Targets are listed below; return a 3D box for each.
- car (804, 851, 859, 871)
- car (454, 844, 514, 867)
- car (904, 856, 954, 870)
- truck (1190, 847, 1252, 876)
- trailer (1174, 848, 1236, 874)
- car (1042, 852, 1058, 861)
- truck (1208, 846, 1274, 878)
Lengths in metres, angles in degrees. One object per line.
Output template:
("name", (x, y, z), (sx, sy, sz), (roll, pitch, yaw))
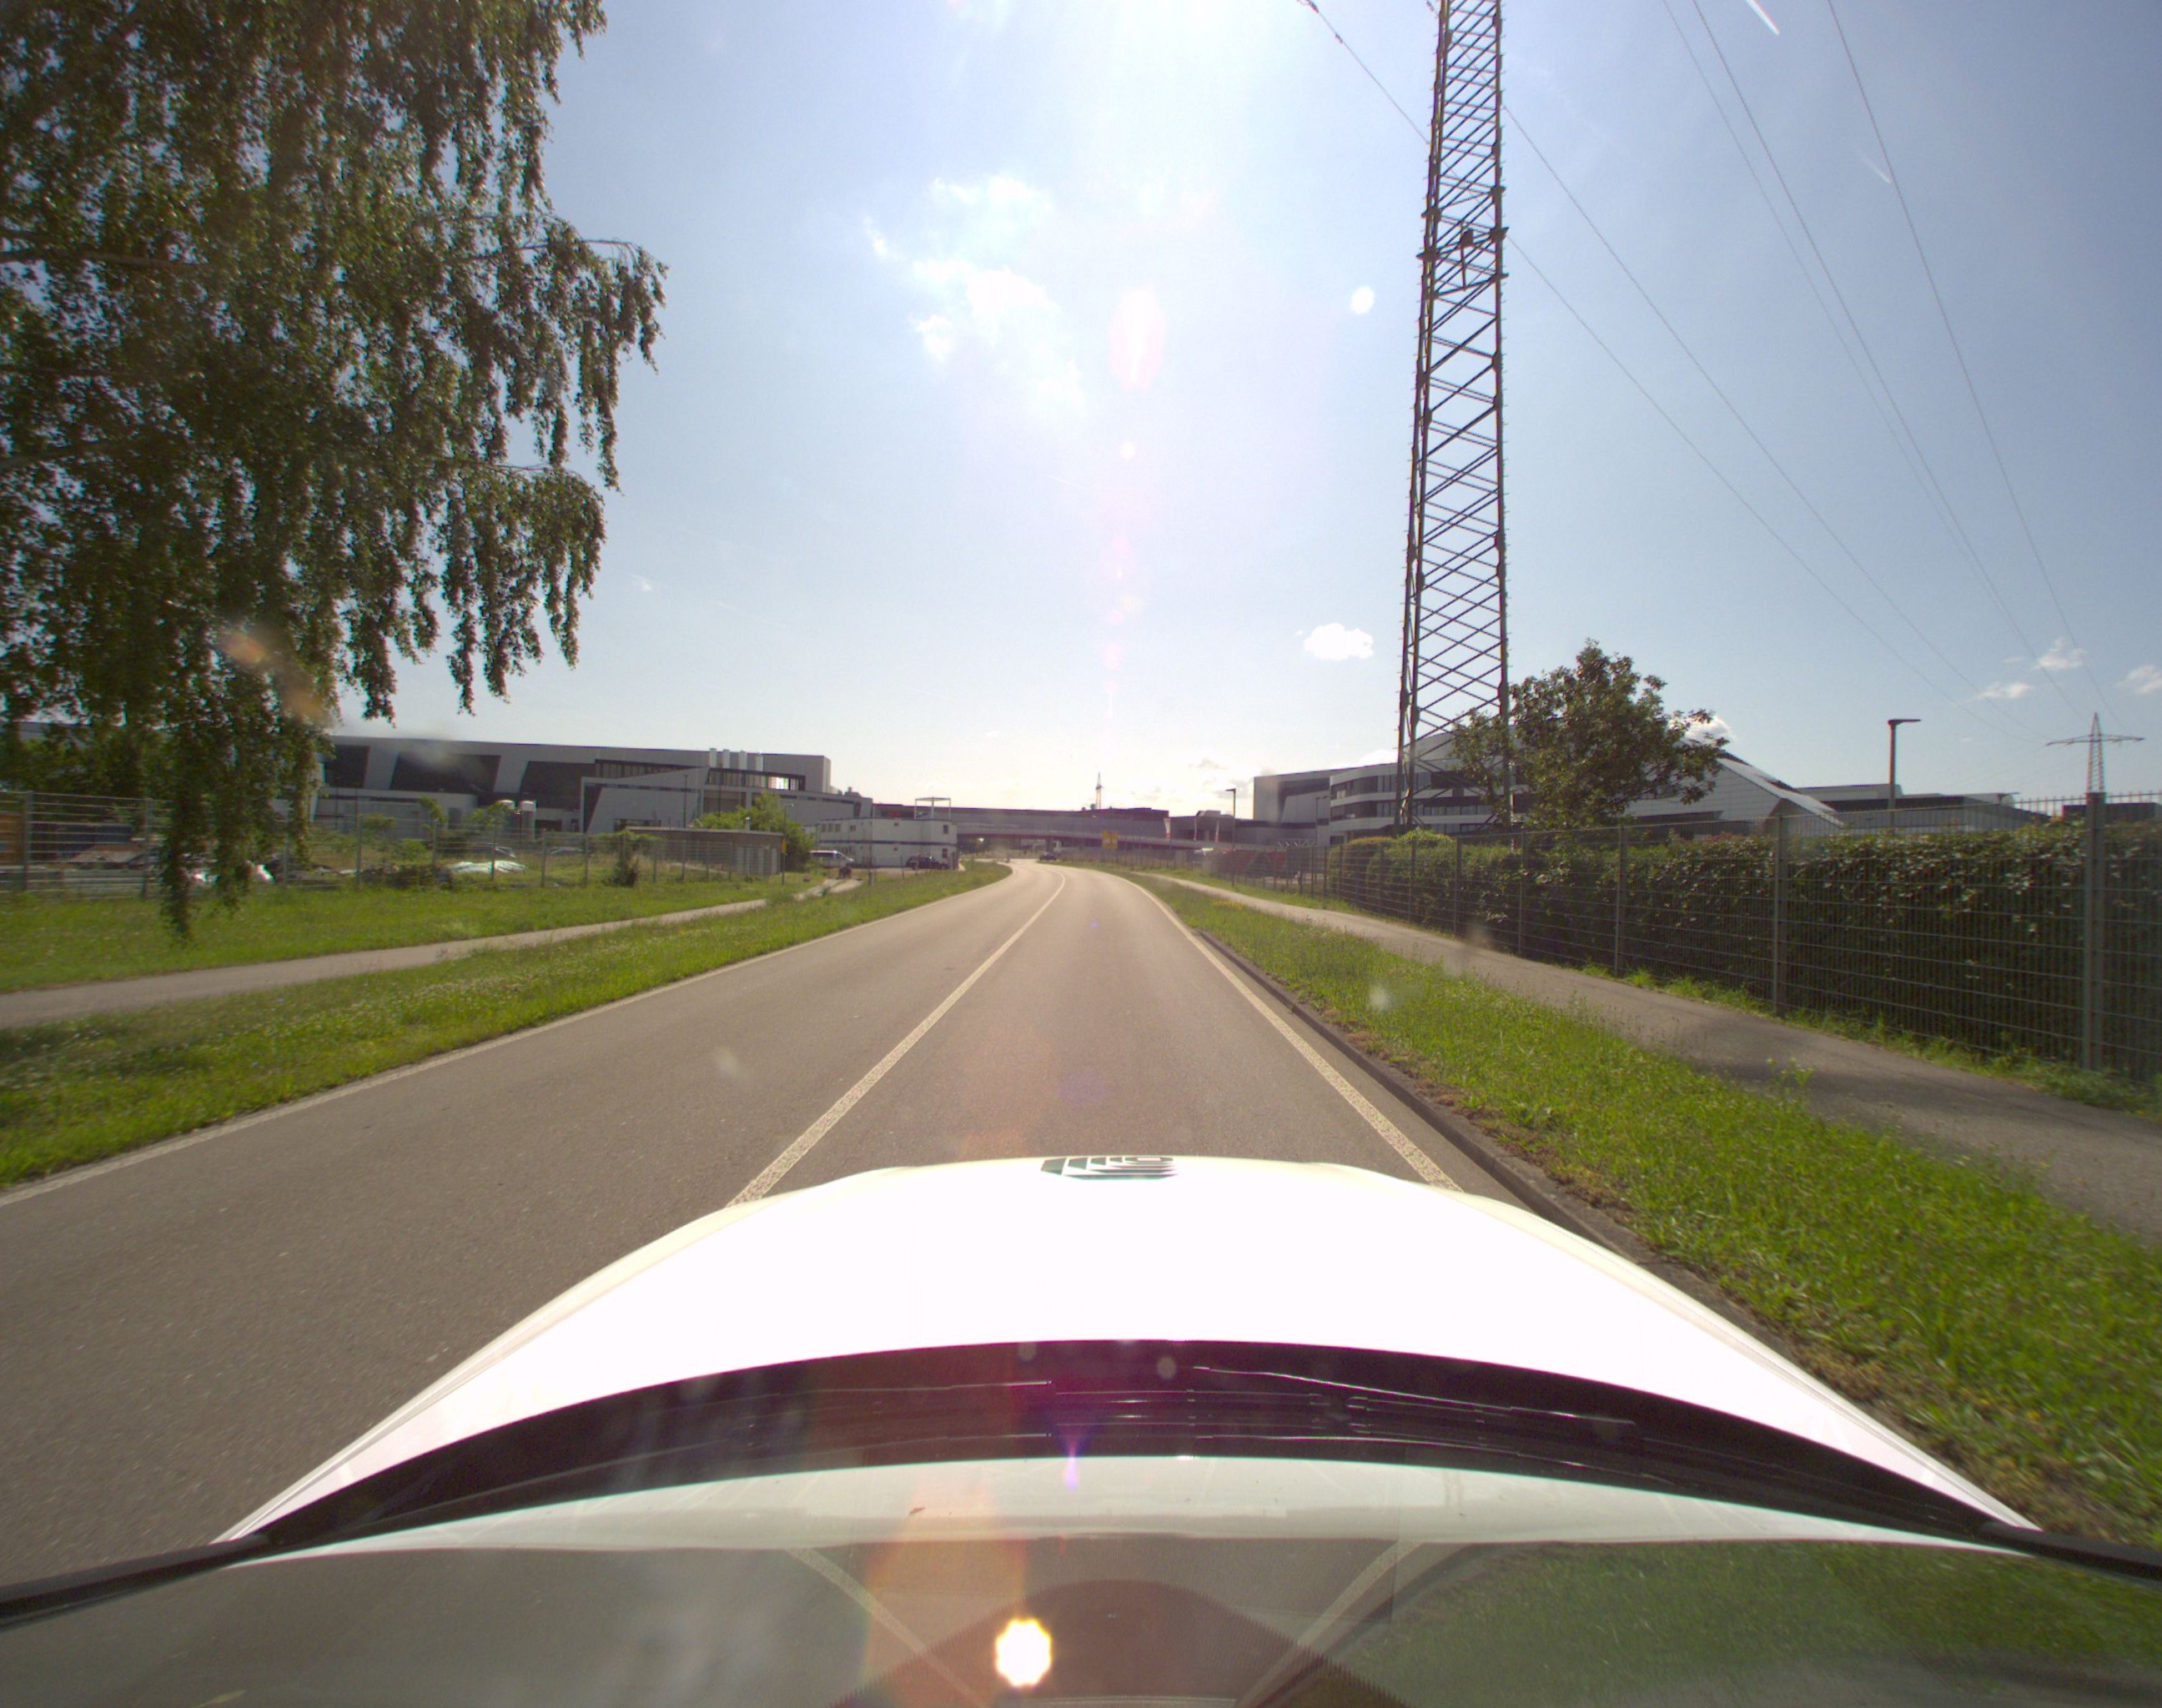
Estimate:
("car", (-25.818, 0.734, 84.317), (5.045, 1.867, 1.977), (2, 0, -38))
("car", (-52.120, 0.150, 71.182), (4.022, 2.014, 1.976), (1, -1, -43))
("car", (-16.071, 0.958, 86.139), (4.982, 1.417, 1.988), (1, 0, -18))
("truck", (21.087, 1.146, 122.180), (11.031, 4.172, 2.789), (0, -1, -41))
("trailer", (22.180, 1.251, 144.824), (14.139, 4.438, 2.733), (0, -1, -42))
("car", (-5.823, 0.461, 151.608), (1.979, 1.544, 4.015), (0, -1, 14))
("truck", (22.327, 1.107, 113.131), (11.033, 4.256, 2.992), (0, -1, -42))
